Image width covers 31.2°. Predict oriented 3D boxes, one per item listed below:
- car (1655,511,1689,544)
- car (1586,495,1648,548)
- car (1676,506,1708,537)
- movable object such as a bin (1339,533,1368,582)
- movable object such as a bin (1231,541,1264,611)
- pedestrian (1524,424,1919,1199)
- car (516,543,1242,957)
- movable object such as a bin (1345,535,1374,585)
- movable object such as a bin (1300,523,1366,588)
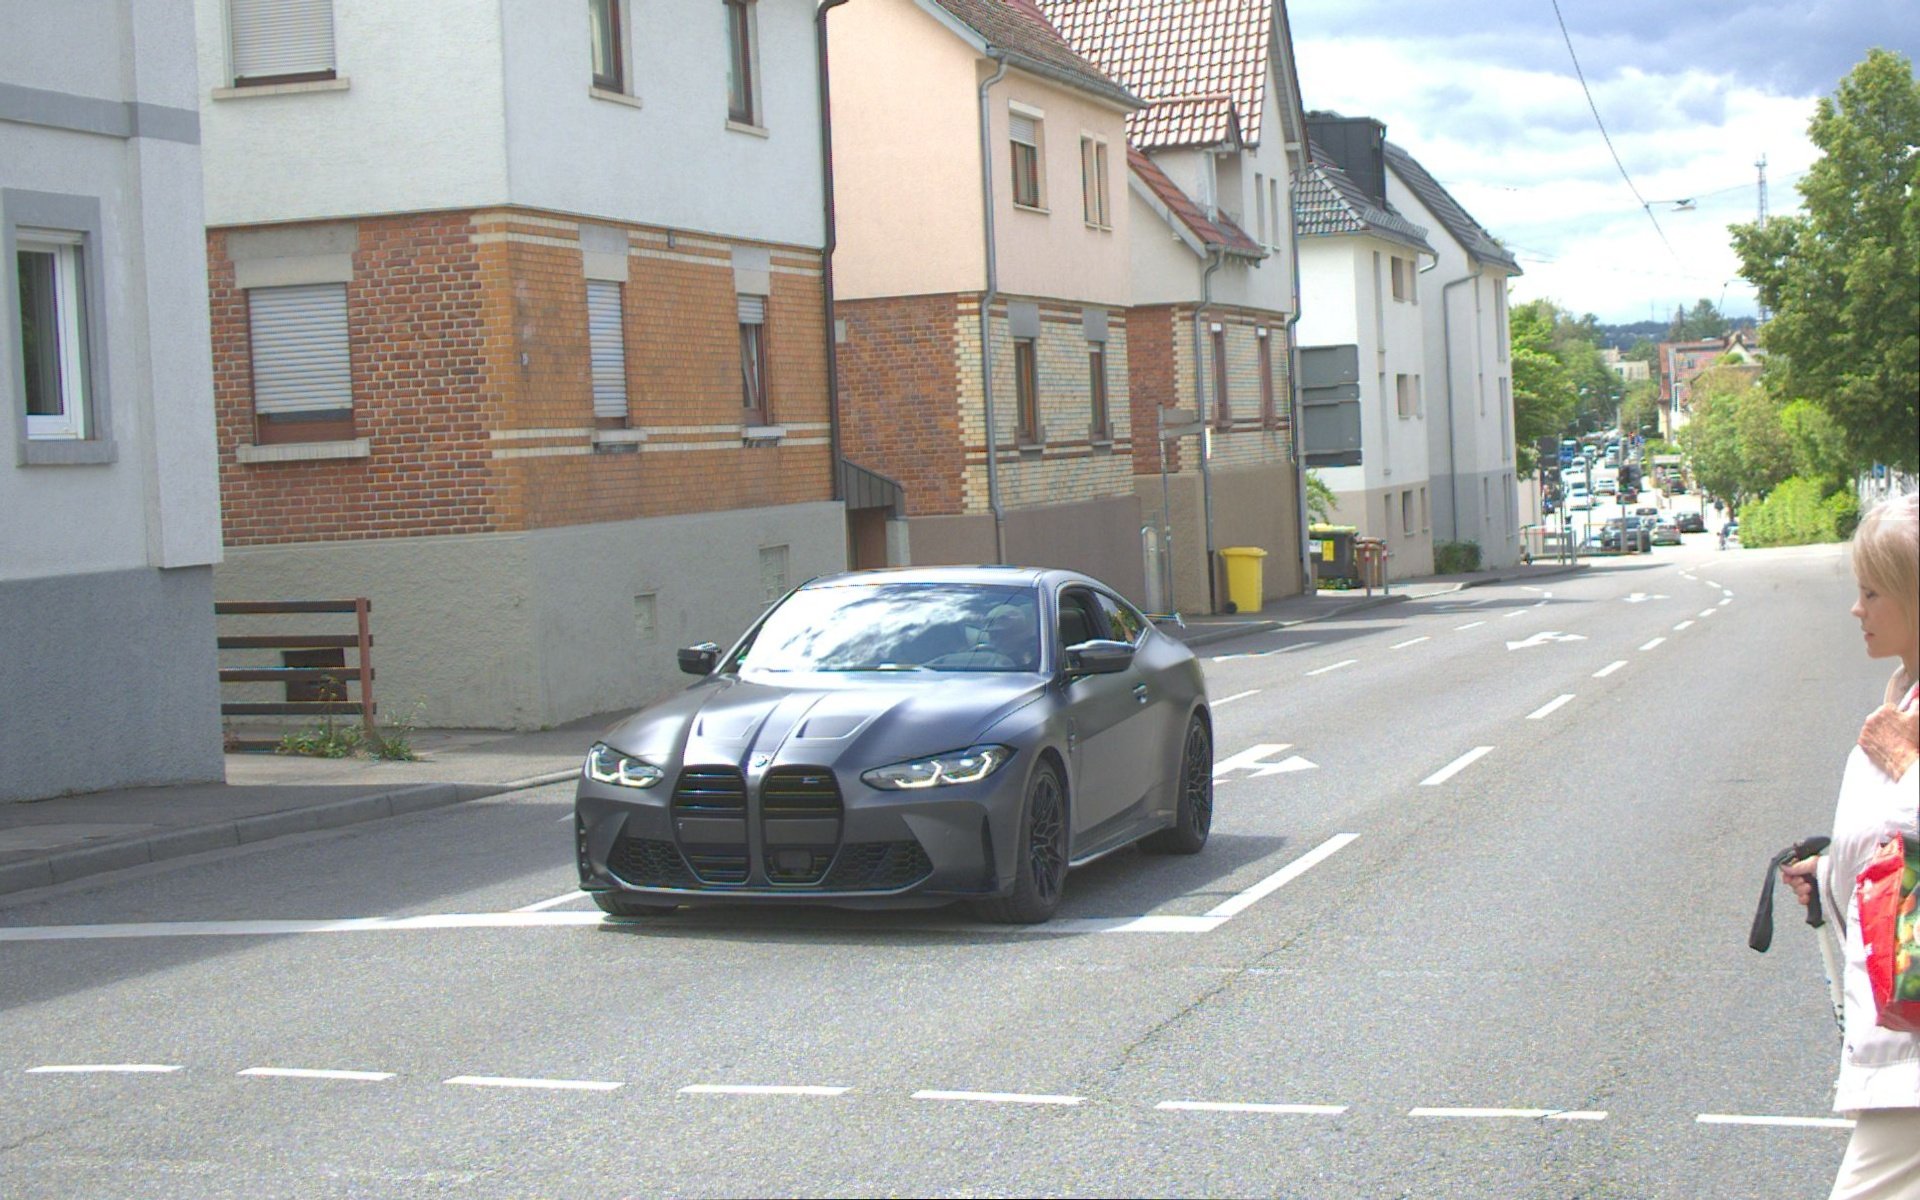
[{"bbox_3d":[45.867,-4.677,221.419,1.994,2.007,3.998,-3,0,11],"label":"car"},{"bbox_3d":[26.073,-3.124,136.487,1.994,2.007,3.999,-2,1,6],"label":"car"},{"bbox_3d":[50.226,-5.358,235.988,1.994,2.007,3.998,-3,0,11],"label":"car"},{"bbox_3d":[8.430,-0.906,73.583,0.532,1.026,0.455,-2,1,14],"label":"movable object such as a bin"},{"bbox_3d":[4.735,-0.388,56.592,0.431,1.124,0.299,-3,1,14],"label":"movable object such as a bin"},{"bbox_3d":[1.408,0.565,5.062,0.872,1.631,0.835,-1,3,27],"label":"pedestrian"},{"bbox_3d":[-0.146,0.521,15.161,1.995,1.452,4.614,0,2,15],"label":"car"},{"bbox_3d":[8.517,-0.851,73.297,0.532,1.026,0.455,-2,1,14],"label":"movable object such as a bin"},{"bbox_3d":[7.856,-0.931,72.359,1.281,1.305,0.816,-2,1,10],"label":"movable object such as a bin"}]
